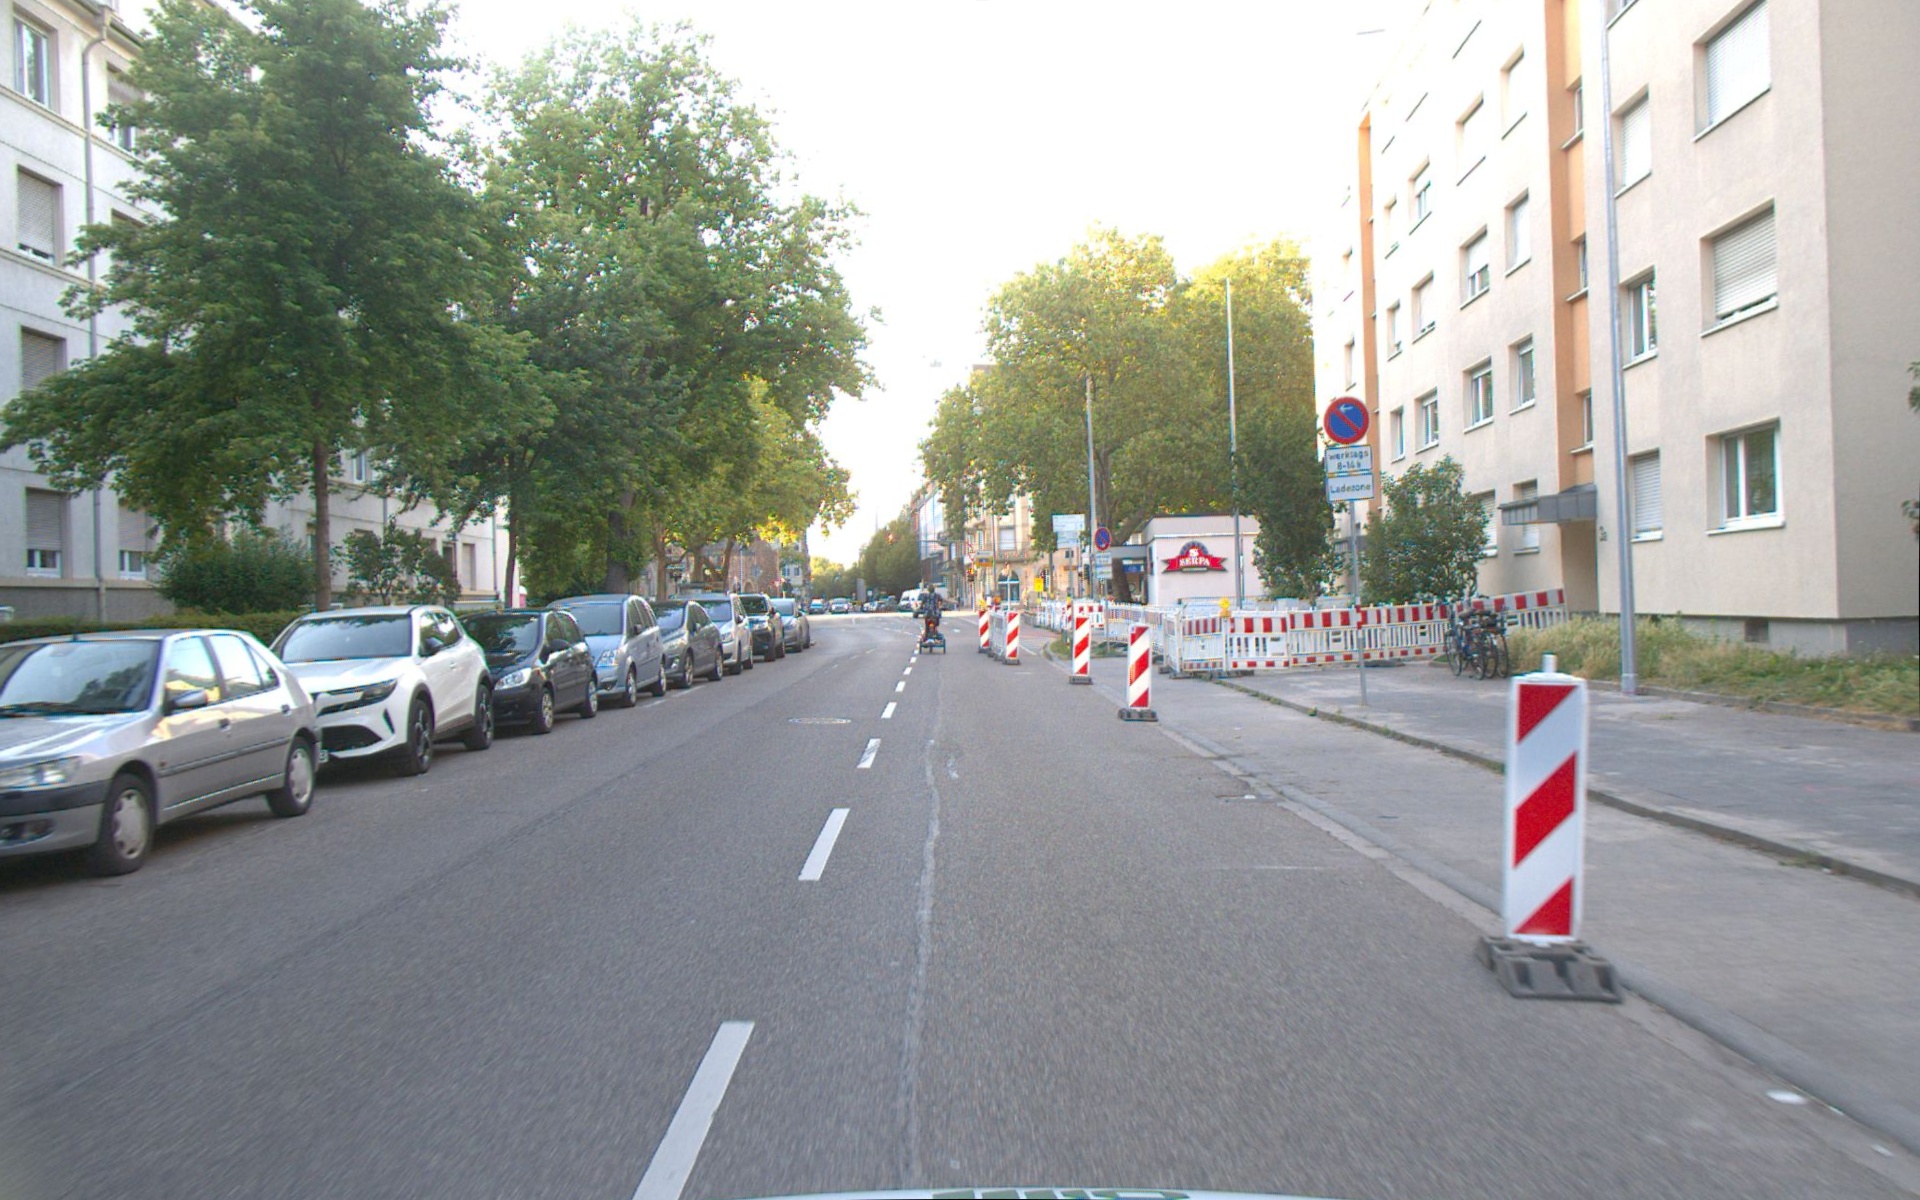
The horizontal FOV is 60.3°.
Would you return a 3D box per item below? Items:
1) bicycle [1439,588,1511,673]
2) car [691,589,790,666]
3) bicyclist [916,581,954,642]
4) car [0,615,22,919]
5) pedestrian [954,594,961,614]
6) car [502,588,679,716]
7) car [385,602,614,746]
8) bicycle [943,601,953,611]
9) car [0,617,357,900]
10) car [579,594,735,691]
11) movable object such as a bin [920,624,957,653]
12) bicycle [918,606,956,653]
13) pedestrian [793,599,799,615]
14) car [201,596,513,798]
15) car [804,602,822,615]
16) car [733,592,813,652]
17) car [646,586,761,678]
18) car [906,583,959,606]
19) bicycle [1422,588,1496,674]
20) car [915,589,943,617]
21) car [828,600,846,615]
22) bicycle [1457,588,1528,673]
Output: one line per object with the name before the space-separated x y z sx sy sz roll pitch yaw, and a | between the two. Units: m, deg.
bicycle | 7.832 0.450 25.227 0.390 1.243 1.910 -1 0 -3
car | -5.564 0.656 42.454 1.914 1.748 4.770 -4 0 -1
bicyclist | -0.695 0.314 46.033 0.920 1.609 1.146 -4 0 -2
car | -5.385 0.822 6.568 1.493 1.555 3.163 -5 0 -2
pedestrian | -0.209 0.349 157.455 0.581 1.919 0.585 -1 0 3
car | -5.453 0.722 24.936 1.673 1.628 4.116 -5 0 -1
car | -5.579 0.830 20.516 1.673 1.477 3.842 -5 0 0
bicycle | -1.274 0.599 172.568 0.532 0.985 1.923 -2 0 13
car | -5.528 0.907 10.830 1.558 1.428 4.180 -5 0 -1
car | -5.354 0.703 29.742 1.696 1.523 4.272 -4 0 3
movable object such as a bin | -0.584 1.028 44.334 0.920 0.701 0.993 -4 0 -2
bicycle | -0.658 0.805 46.010 0.920 1.192 2.357 -4 0 -2
pedestrian | -19.886 0.795 200.593 0.581 1.919 0.553 -1 0 -4
car | -5.639 0.821 16.029 1.559 1.565 4.204 -5 0 -3
car | -18.720 1.075 210.403 1.956 1.680 3.814 0 0 -9
car | -5.650 0.637 50.485 1.914 1.645 4.604 -4 0 -1
car | -5.373 0.635 35.203 1.810 1.720 4.856 -4 0 -3
car | -2.920 -0.566 176.634 5.779 2.328 2.039 -2 0 -44
bicycle | 7.564 0.451 25.132 0.442 1.243 1.910 -1 0 -3
car | -2.147 0.222 114.425 1.829 1.846 3.998 -2 0 -2
car | -13.477 0.829 180.930 1.748 1.680 3.814 0 0 -9
bicycle | 8.078 0.448 25.164 0.390 1.243 1.825 -1 0 -3
